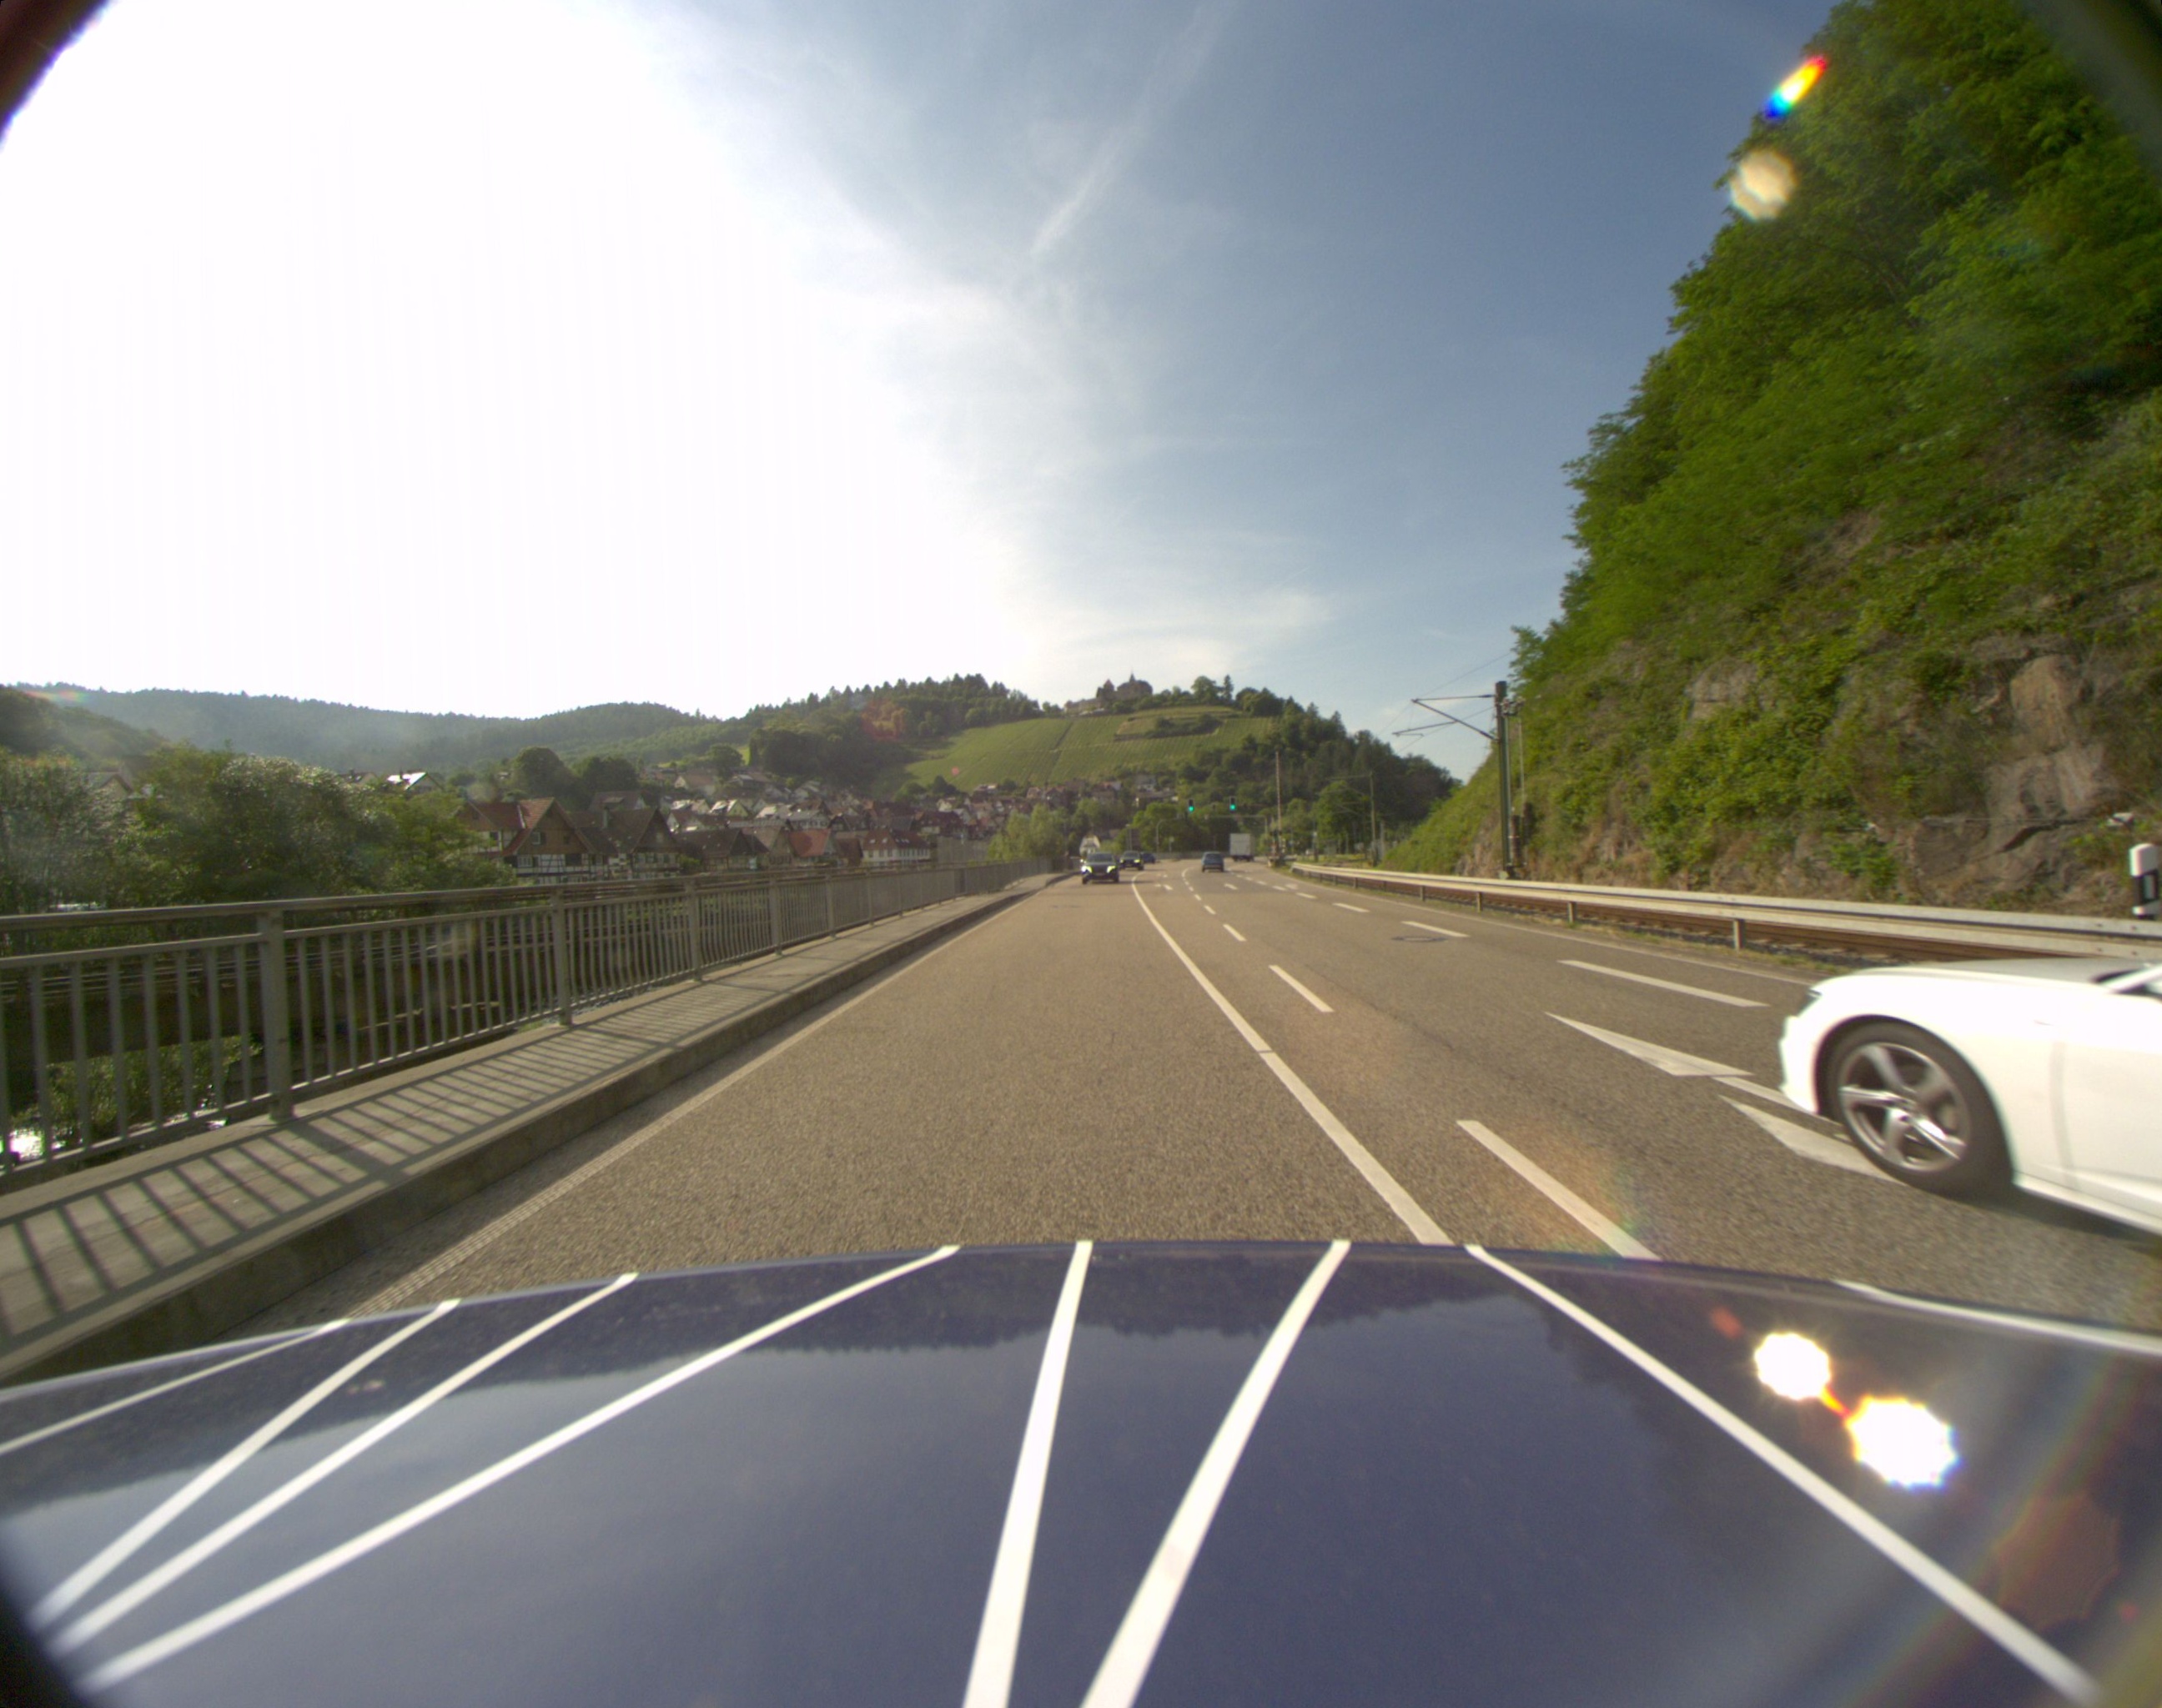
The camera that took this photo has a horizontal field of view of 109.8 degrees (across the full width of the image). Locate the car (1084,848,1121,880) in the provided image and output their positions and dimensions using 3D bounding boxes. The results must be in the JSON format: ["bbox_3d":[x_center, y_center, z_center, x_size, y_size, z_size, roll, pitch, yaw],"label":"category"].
[{"bbox_3d":[1.154,0.477,40.454,1.863,1.576,4.000,-1,1,2],"label":"car"}]

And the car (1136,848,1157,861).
[{"bbox_3d":[8.009,0.051,92.120,1.865,1.483,4.004,0,0,14],"label":"car"}]

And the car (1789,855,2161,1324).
[{"bbox_3d":[4.340,0.734,1.287,2.068,1.431,4.687,-1,0,3],"label":"car"}]

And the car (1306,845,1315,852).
[{"bbox_3d":[51.461,-1.235,170.350,1.694,1.647,4.177,-1,0,22],"label":"car"}]

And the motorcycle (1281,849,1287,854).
[{"bbox_3d":[37.349,-0.506,139.837,0.825,0.949,2.221,-1,0,21],"label":"motorcycle"}]

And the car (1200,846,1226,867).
[{"bbox_3d":[10.491,0.164,60.668,1.722,1.561,4.137,-1,0,6],"label":"car"}]

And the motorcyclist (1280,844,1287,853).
[{"bbox_3d":[37.286,-0.970,139.892,1.007,1.705,0.866,-1,1,22],"label":"motorcyclist"}]

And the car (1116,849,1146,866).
[{"bbox_3d":[4.333,0.304,65.156,1.997,1.384,4.003,-1,0,12],"label":"car"}]

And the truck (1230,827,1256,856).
[{"bbox_3d":[22.143,-1.597,103.506,2.901,3.776,8.904,-1,0,15],"label":"truck"}]
